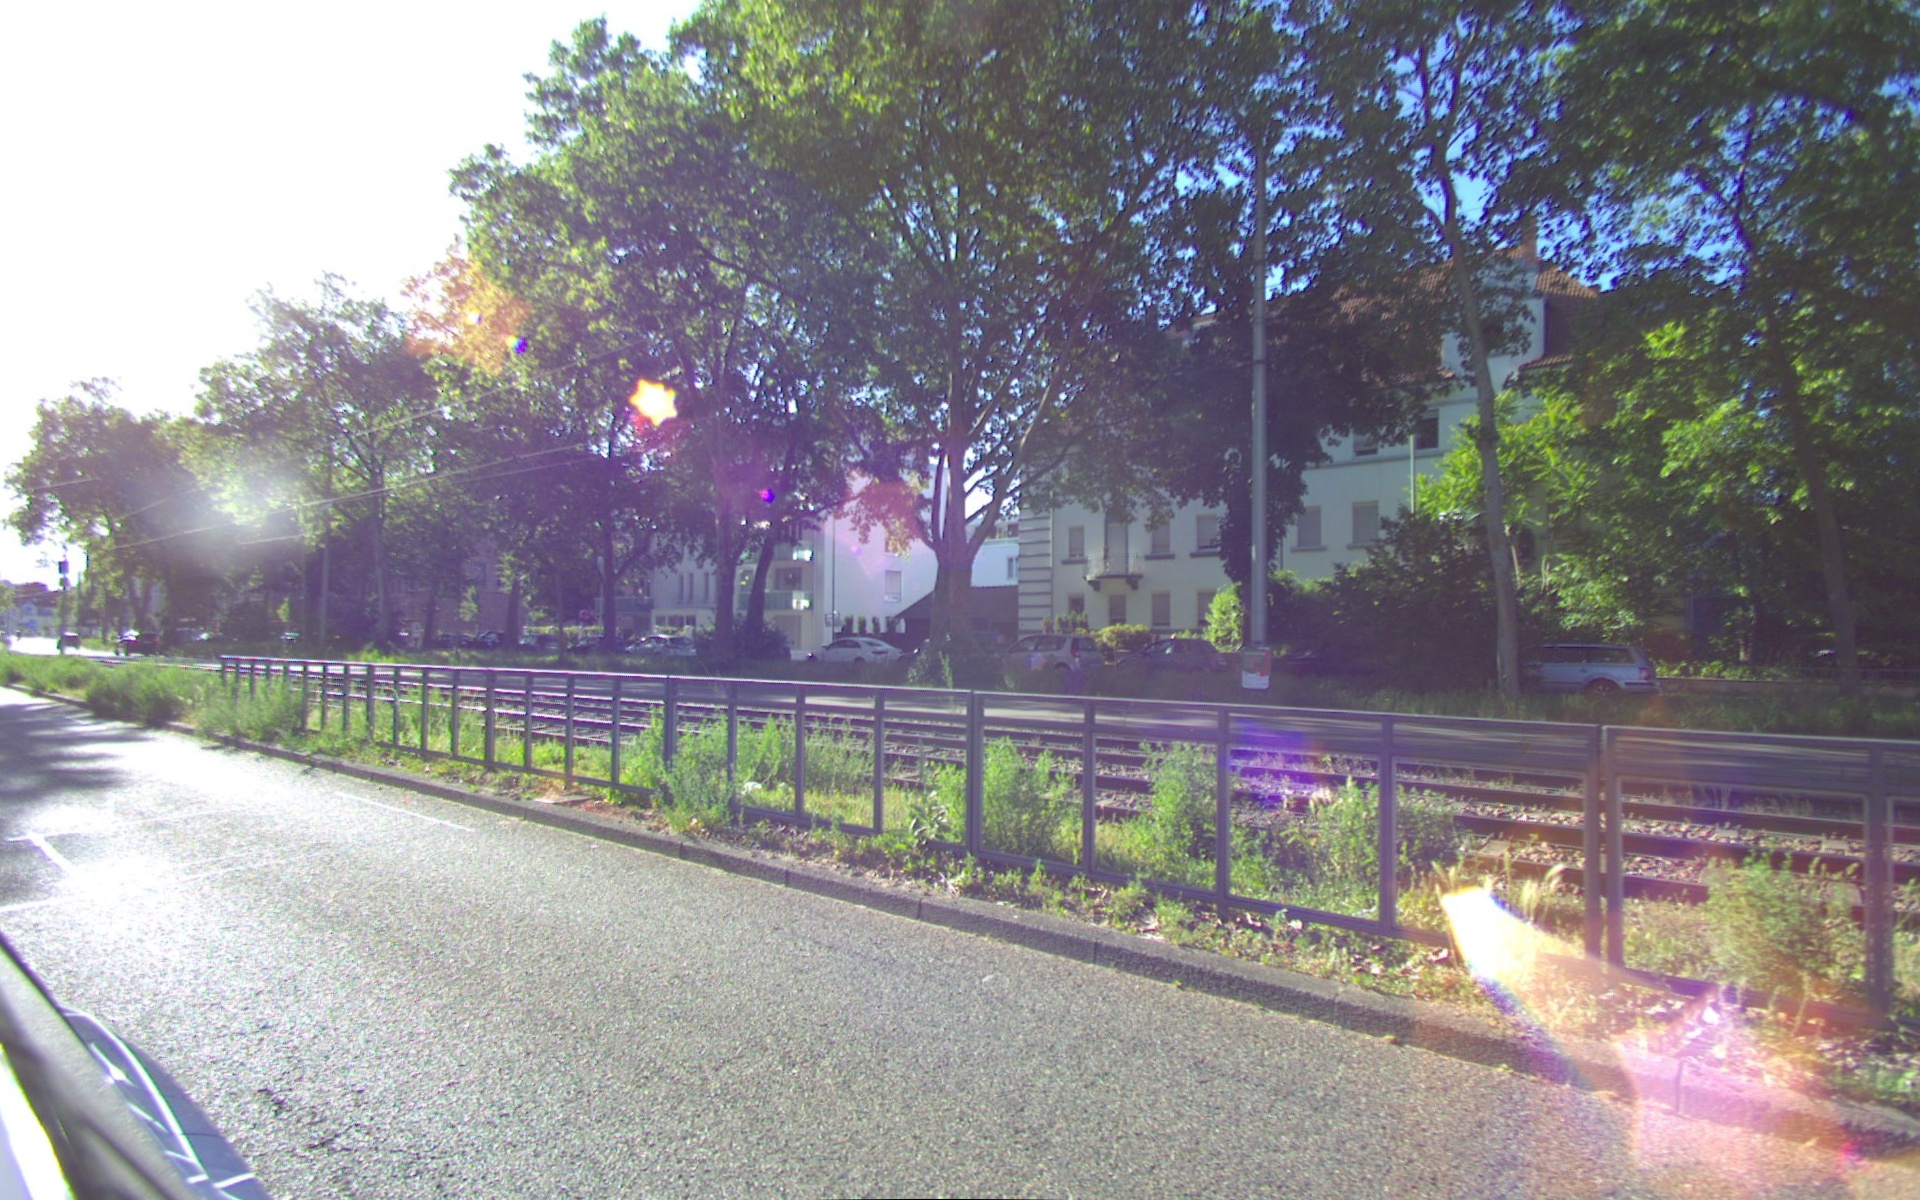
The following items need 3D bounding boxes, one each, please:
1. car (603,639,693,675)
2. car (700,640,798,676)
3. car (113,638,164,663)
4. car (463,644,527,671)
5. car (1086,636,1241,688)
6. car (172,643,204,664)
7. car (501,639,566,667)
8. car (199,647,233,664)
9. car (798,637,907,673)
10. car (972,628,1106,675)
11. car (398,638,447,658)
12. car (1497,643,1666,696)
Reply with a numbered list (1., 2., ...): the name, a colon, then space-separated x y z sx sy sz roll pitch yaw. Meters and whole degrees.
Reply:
1. car: -14.882 2.663 48.212 4.653 1.603 1.972 -2 -3 41
2. car: -9.195 2.474 43.890 4.316 1.464 1.973 -2 -3 41
3. car: -56.619 3.476 69.736 4.456 1.660 1.839 -2 -3 39
4. car: -27.365 3.372 59.510 3.998 1.497 1.973 -2 -3 41
5. car: 6.087 1.822 30.542 4.318 1.452 1.765 -2 -3 42
6. car: -76.442 5.303 100.170 1.971 2.029 4.002 2 -3 -45
7. car: -23.719 2.909 56.232 3.998 1.484 1.778 -2 -3 41
8. car: -69.460 5.151 94.458 3.686 1.497 1.748 -2 -3 41
9. car: -4.227 2.119 39.363 4.458 1.334 1.623 -2 -5 41
10. car: 2.571 1.685 33.610 4.316 1.451 1.717 -2 -3 41
11. car: -40.806 3.610 76.770 3.998 1.497 1.973 -2 -3 41
12. car: 14.408 1.575 23.526 3.213 1.125 1.458 -2 -2 38
